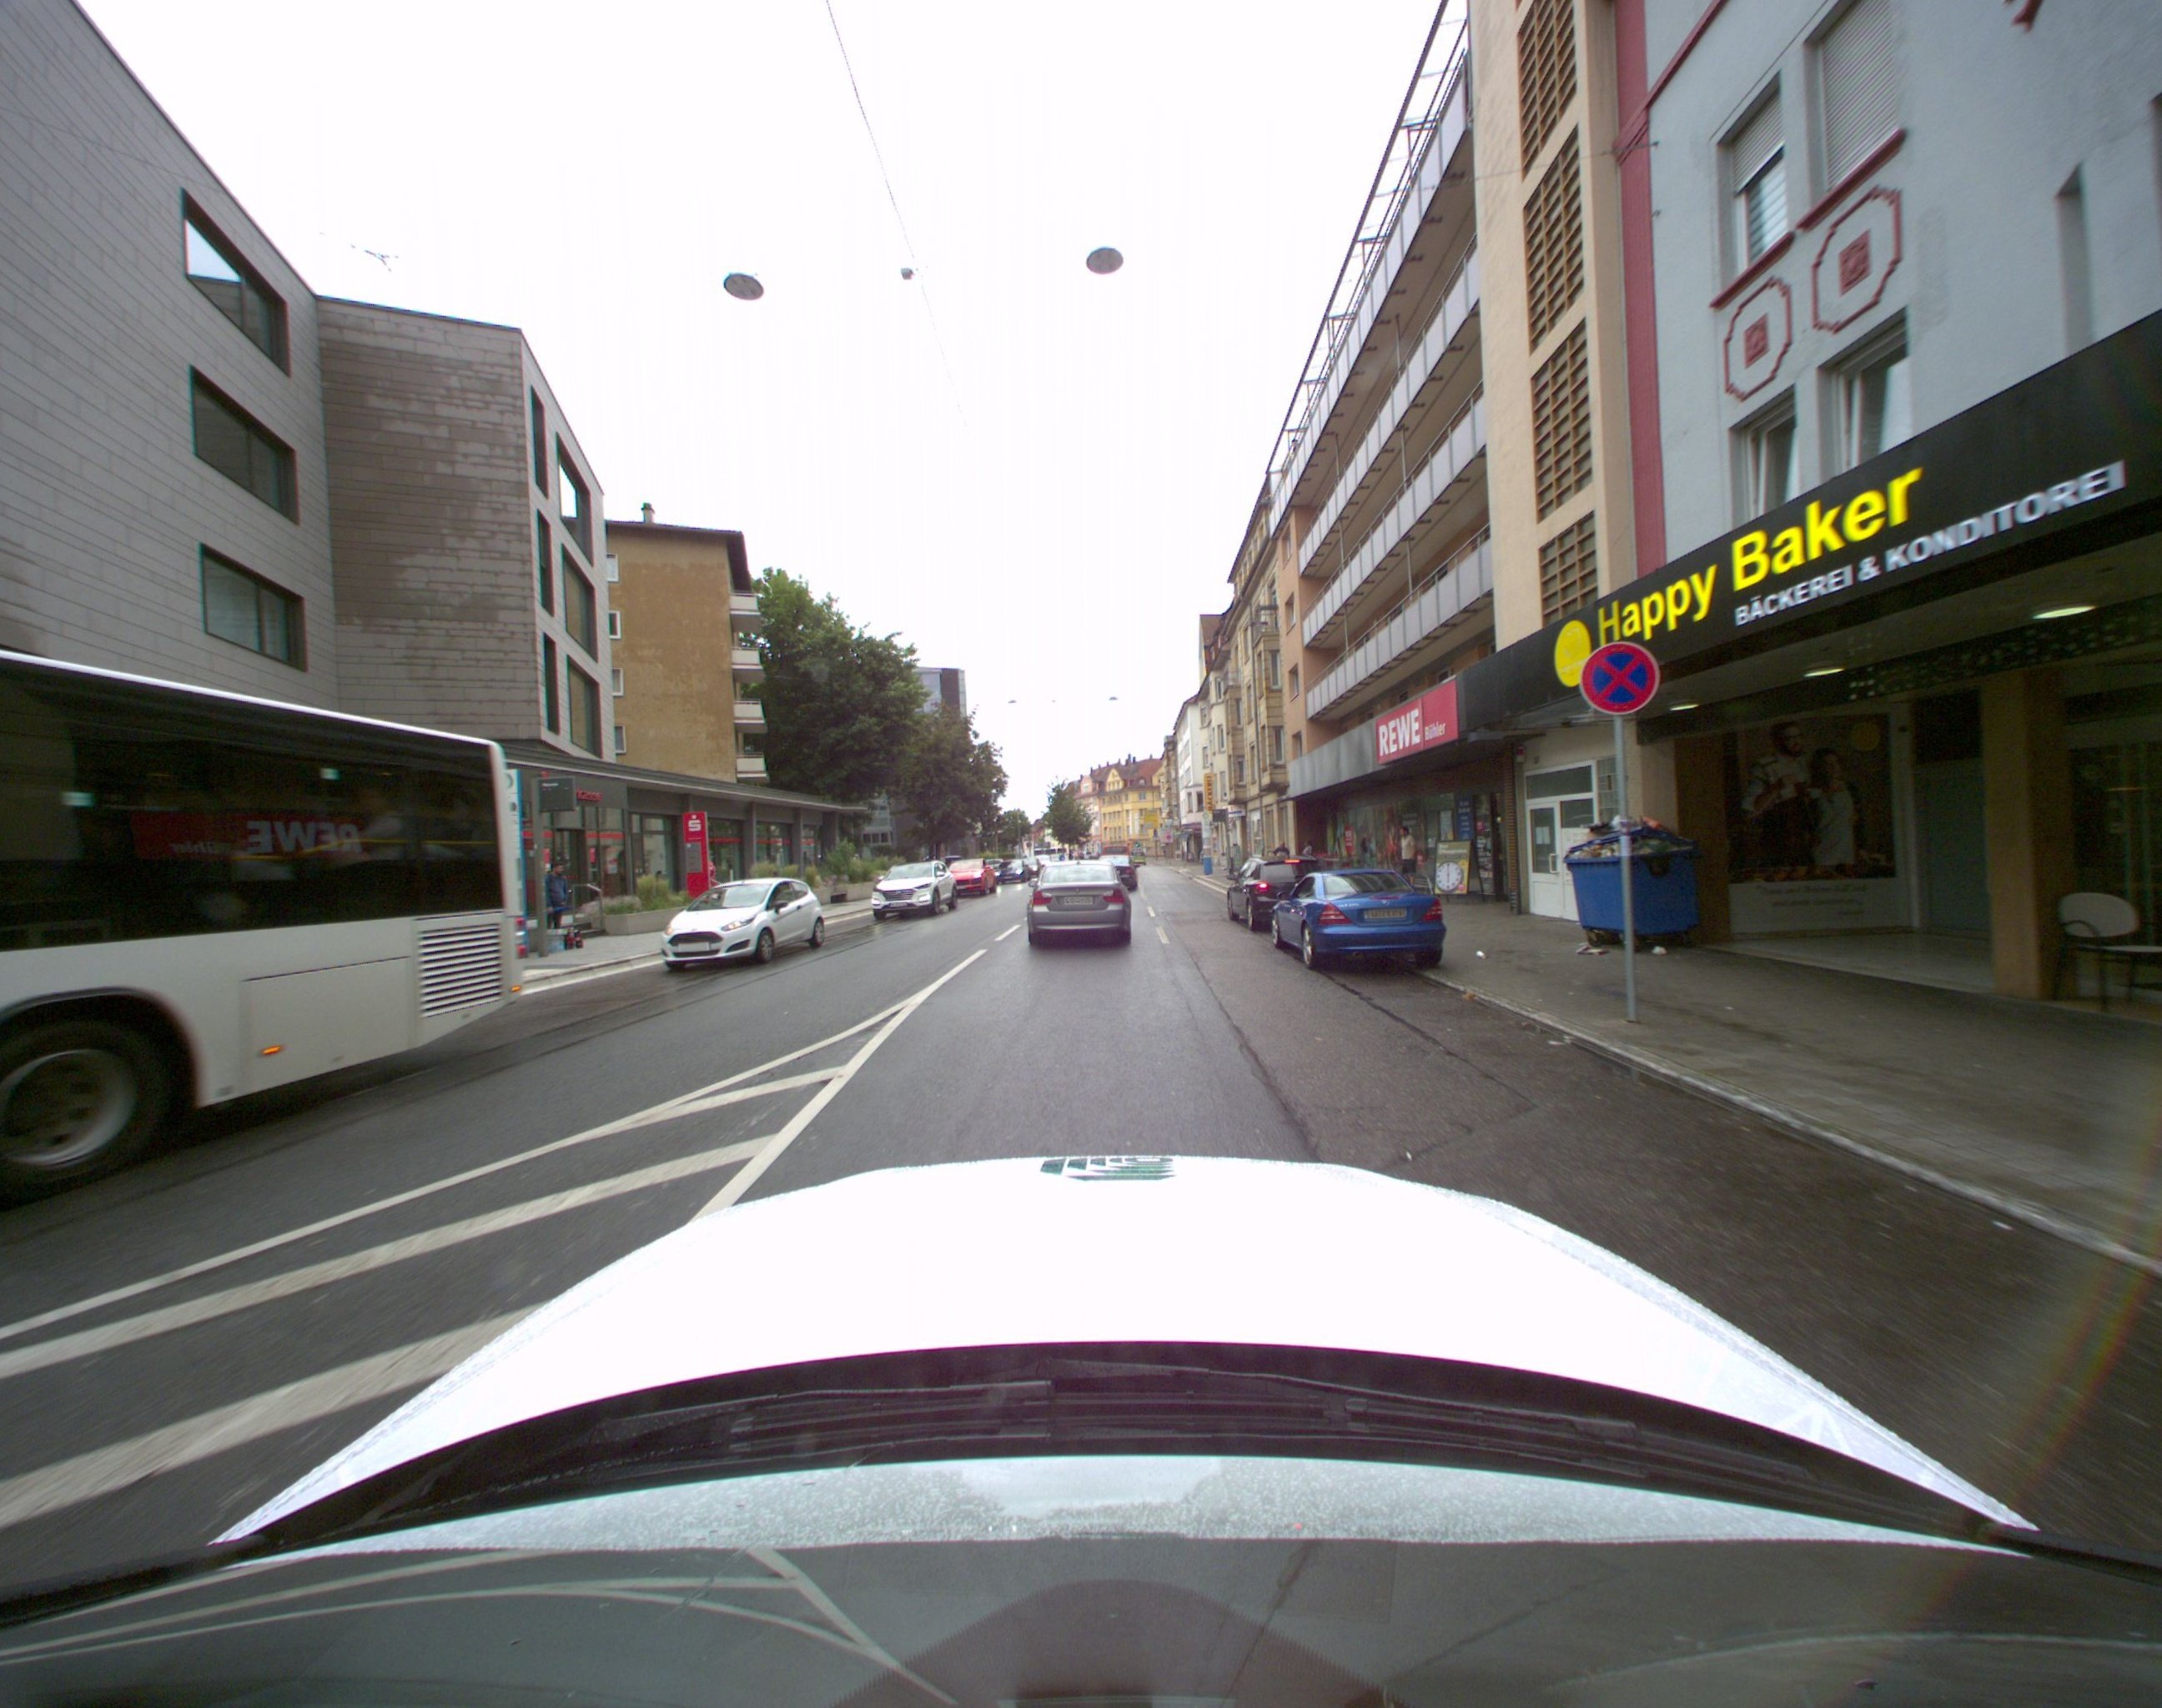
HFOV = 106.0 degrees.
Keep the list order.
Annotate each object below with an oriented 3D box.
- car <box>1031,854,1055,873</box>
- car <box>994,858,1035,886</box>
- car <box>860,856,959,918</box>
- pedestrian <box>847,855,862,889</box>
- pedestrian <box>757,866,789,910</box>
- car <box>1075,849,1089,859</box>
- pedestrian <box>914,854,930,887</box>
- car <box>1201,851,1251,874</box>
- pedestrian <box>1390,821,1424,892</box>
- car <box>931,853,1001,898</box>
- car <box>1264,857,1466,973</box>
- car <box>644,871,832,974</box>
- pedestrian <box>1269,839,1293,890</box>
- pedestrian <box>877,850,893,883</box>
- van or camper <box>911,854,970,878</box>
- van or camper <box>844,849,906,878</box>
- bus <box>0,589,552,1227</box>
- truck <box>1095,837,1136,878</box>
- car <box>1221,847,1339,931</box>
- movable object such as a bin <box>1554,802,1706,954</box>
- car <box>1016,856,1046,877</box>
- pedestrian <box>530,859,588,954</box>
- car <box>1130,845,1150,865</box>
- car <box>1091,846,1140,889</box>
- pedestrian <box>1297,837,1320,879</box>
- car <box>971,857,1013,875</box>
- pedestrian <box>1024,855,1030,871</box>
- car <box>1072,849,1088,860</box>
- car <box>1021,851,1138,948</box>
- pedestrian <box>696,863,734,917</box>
[{"bbox_3d":[-3.299,0.805,71.542,1.813,1.569,4.090,-2,0,1],"label":"car"},{"bbox_3d":[-4.147,1.090,51.787,1.947,1.511,4.914,-4,0,2],"label":"car"},{"bbox_3d":[-5.114,0.952,24.855,1.887,1.573,4.127,-5,-1,2],"label":"car"},{"bbox_3d":[-12.077,0.962,43.365,0.657,1.759,0.716,-2,0,-21],"label":"pedestrian"},{"bbox_3d":[-10.277,1.126,27.183,0.584,1.420,0.730,-2,0,37],"label":"pedestrian"},{"bbox_3d":[0.195,-0.056,177.646,1.769,2.180,3.970,0,-1,-23],"label":"car"},{"bbox_3d":[-8.823,0.899,45.171,0.722,1.826,0.718,-2,0,-17],"label":"pedestrian"},{"bbox_3d":[12.491,0.744,69.921,4.112,1.772,1.879,-2,0,10],"label":"car"},{"bbox_3d":[8.751,0.059,21.889,0.593,1.859,0.728,-2,-1,6],"label":"pedestrian"},{"bbox_3d":[-5.063,0.930,36.675,2.098,1.764,5.063,-4,-1,2],"label":"car"},{"bbox_3d":[3.849,0.747,11.712,1.727,1.310,3.770,-2,0,3],"label":"car"},{"bbox_3d":[-6.028,1.120,14.813,1.609,1.464,3.809,-2,0,2],"label":"car"},{"bbox_3d":[6.761,0.354,27.591,0.622,1.651,0.750,-2,2,5],"label":"pedestrian"},{"bbox_3d":[-11.199,0.719,46.523,0.723,1.826,0.849,-2,0,-20],"label":"pedestrian"},{"bbox_3d":[-12.958,1.086,75.333,4.979,2.013,1.982,-2,0,-27],"label":"van or camper"},{"bbox_3d":[-16.942,0.745,67.049,4.628,2.266,2.192,0,0,-27],"label":"van or camper"},{"bbox_3d":[-6.932,0.361,2.045,2.795,3.246,11.965,-7,-1,2],"label":"bus"},{"bbox_3d":[2.040,0.179,48.015,2.216,2.249,5.066,-2,0,2],"label":"truck"},{"bbox_3d":[4.086,0.646,17.332,1.723,1.547,3.985,1,1,3],"label":"car"},{"bbox_3d":[7.007,0.295,10.484,0.996,1.793,1.296,-3,-1,1],"label":"movable object such as a bin"},{"bbox_3d":[-3.714,0.913,61.304,1.948,1.557,4.244,0,0,1],"label":"car"},{"bbox_3d":[-10.389,1.021,16.229,0.588,1.819,0.869,-2,0,-6],"label":"pedestrian"},{"bbox_3d":[6.458,0.099,89.904,1.986,2.013,4.002,-2,0,2],"label":"car"},{"bbox_3d":[1.362,0.543,32.690,1.792,1.563,4.001,-2,-1,2],"label":"car"},{"bbox_3d":[8.717,0.140,31.210,0.562,1.572,0.624,-2,0,-14],"label":"pedestrian"},{"bbox_3d":[-8.528,1.171,77.870,3.600,1.569,1.724,-2,0,-31],"label":"car"},{"bbox_3d":[-5.988,1.009,90.146,0.573,1.762,0.580,-2,0,-4],"label":"pedestrian"},{"bbox_3d":[-0.144,0.163,164.258,1.999,2.013,3.975,-2,0,-18],"label":"car"},{"bbox_3d":[0.046,0.736,15.009,1.792,1.464,4.372,-2,-1,2],"label":"car"},{"bbox_3d":[-11.747,1.144,26.160,0.704,1.678,0.805,-2,0,30],"label":"pedestrian"}]
